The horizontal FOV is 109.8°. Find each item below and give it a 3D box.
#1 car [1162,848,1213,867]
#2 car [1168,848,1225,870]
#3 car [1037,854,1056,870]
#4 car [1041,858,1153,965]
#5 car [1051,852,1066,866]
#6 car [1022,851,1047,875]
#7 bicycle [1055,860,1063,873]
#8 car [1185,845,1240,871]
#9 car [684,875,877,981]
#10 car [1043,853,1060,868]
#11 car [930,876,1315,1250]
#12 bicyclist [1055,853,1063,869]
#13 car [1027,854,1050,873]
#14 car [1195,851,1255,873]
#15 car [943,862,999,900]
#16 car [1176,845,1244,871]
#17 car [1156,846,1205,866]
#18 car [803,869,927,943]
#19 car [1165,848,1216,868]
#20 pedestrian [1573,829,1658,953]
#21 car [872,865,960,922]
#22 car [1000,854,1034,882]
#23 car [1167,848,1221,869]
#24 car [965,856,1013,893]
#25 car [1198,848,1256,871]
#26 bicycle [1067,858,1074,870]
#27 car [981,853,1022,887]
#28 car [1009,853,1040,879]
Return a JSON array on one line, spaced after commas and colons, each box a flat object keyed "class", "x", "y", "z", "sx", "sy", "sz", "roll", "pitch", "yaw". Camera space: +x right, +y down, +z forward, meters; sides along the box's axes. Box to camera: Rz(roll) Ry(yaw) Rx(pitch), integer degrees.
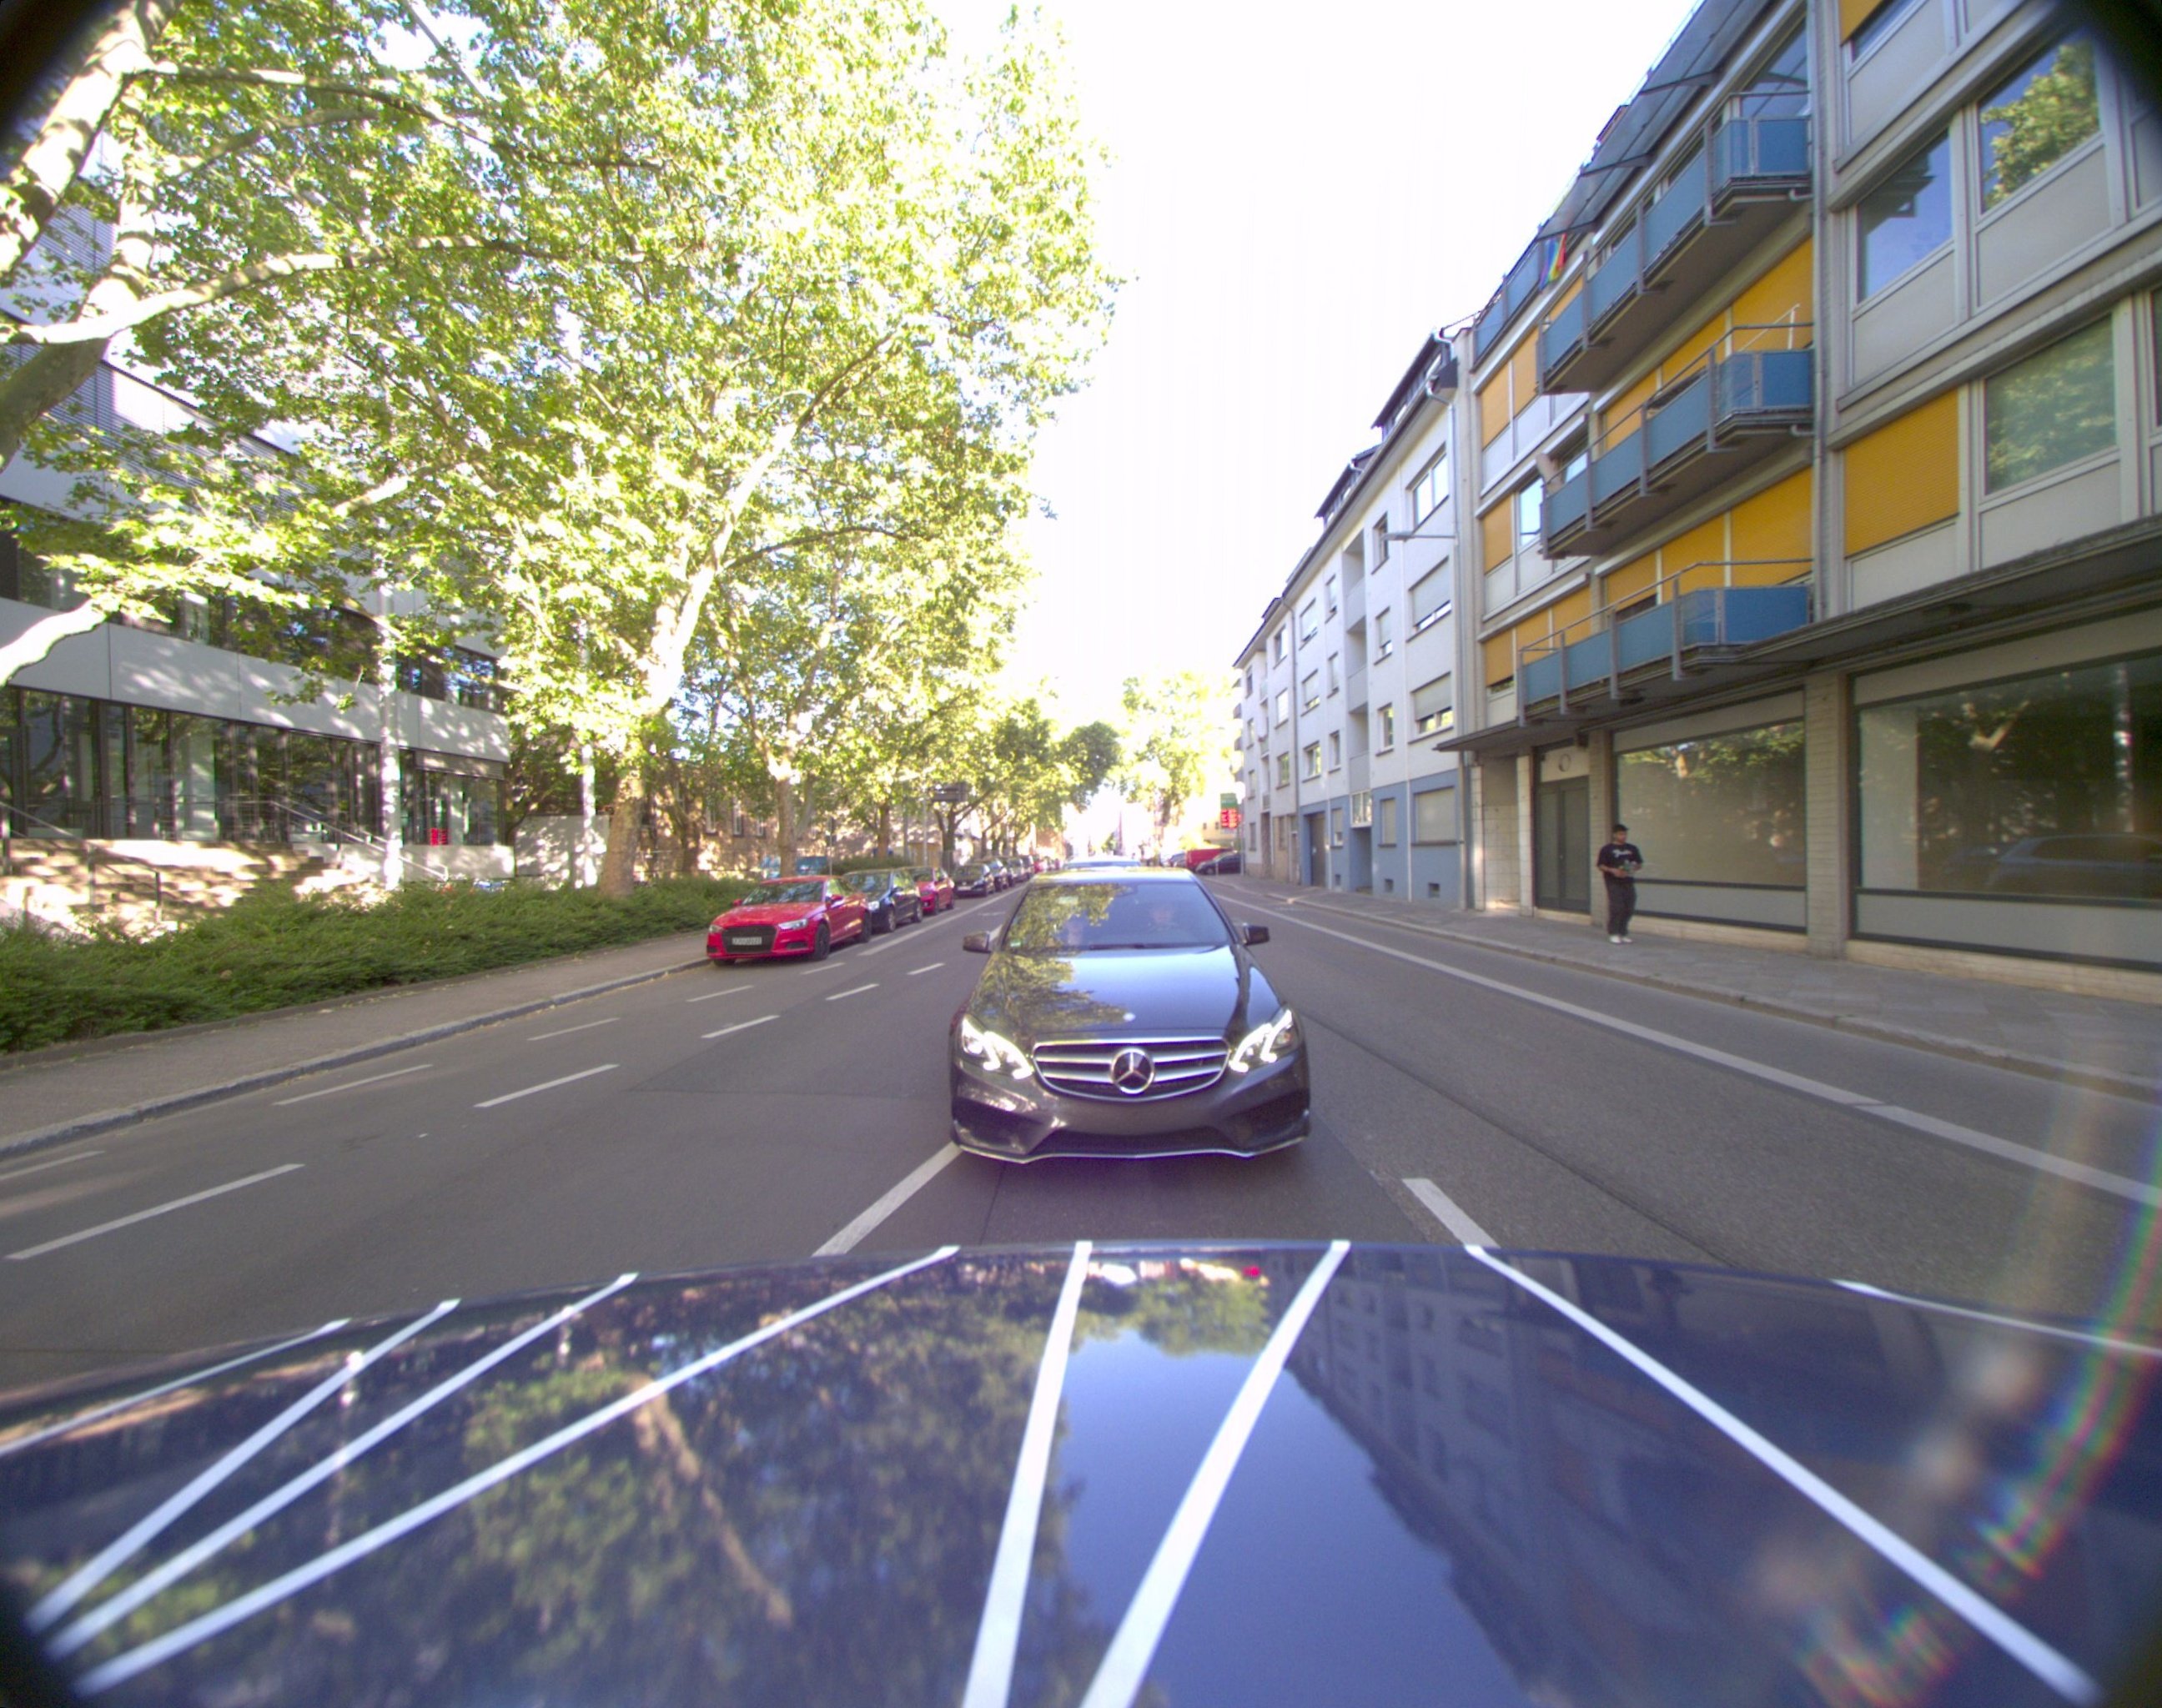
[{"class": "car", "x": 11.324, "y": 0.353, "z": 81.187, "sx": 5.042, "sy": 1.926, "sz": 2.315, "roll": -2, "pitch": 0, "yaw": 1}, {"class": "car", "x": 11.101, "y": 0.448, "z": 73.524, "sx": 5.143, "sy": 1.926, "sz": 2.187, "roll": -2, "pitch": 0, "yaw": 1}, {"class": "car", "x": -3.774, "y": 0.873, "z": 83.517, "sx": 1.755, "sy": 1.652, "sz": 4.447, "roll": -3, "pitch": 0, "yaw": 1}, {"class": "car", "x": 0.272, "y": 0.888, "z": 13.612, "sx": 1.667, "sy": 1.563, "sz": 4.000, "roll": -1, "pitch": 0, "yaw": 1}, {"class": "car", "x": -3.013, "y": 0.653, "z": 103.206, "sx": 1.755, "sy": 1.652, "sz": 4.447, "roll": -3, "pitch": 0, "yaw": 1}, {"class": "car", "x": -3.995, "y": 0.731, "z": 66.392, "sx": 1.755, "sy": 1.941, "sz": 4.447, "roll": -3, "pitch": 0, "yaw": 1}, {"class": "bicycle", "x": -1.968, "y": 1.127, "z": 68.670, "sx": 0.650, "sy": 1.053, "sz": 1.595, "roll": -2, "pitch": 0, "yaw": 1}, {"class": "car", "x": 10.333, "y": 0.305, "z": 60.083, "sx": 3.997, "sy": 1.926, "sz": 1.867, "roll": -2, "pitch": 0, "yaw": 1}, {"class": "car", "x": -5.124, "y": 1.183, "z": 13.600, "sx": 1.755, "sy": 1.400, "sz": 4.000, "roll": -3, "pitch": 0, "yaw": 1}, {"class": "car", "x": -3.645, "y": 0.776, "z": 93.007, "sx": 1.755, "sy": 1.652, "sz": 4.447, "roll": -3, "pitch": 0, "yaw": 1}, {"class": "car", "x": 0.213, "y": 0.985, "z": 5.360, "sx": 1.667, "sy": 1.499, "sz": 4.000, "roll": -1, "pitch": 0, "yaw": 1}, {"class": "bicyclist", "x": -1.984, "y": 0.590, "z": 68.646, "sx": 0.650, "sy": 1.427, "sz": 0.741, "roll": -2, "pitch": 1, "yaw": 1}, {"class": "car", "x": -4.001, "y": 0.906, "z": 72.178, "sx": 1.755, "sy": 1.652, "sz": 4.447, "roll": -3, "pitch": 0, "yaw": 1}, {"class": "car", "x": 10.358, "y": 0.567, "z": 54.784, "sx": 3.997, "sy": 1.412, "sz": 1.743, "roll": -2, "pitch": 0, "yaw": 1}, {"class": "car", "x": -4.749, "y": 1.119, "z": 33.296, "sx": 1.755, "sy": 1.424, "sz": 3.909, "roll": -3, "pitch": 0, "yaw": 1}, {"class": "car", "x": 10.638, "y": 0.299, "z": 63.108, "sx": 5.223, "sy": 1.969, "sz": 2.257, "roll": -2, "pitch": 0, "yaw": 1}, {"class": "car", "x": 11.192, "y": 0.206, "z": 85.524, "sx": 5.143, "sy": 2.135, "sz": 2.187, "roll": -2, "pitch": 0, "yaw": 1}, {"class": "car", "x": -5.084, "y": 1.174, "z": 18.446, "sx": 1.755, "sy": 1.424, "sz": 3.909, "roll": -3, "pitch": 0, "yaw": 1}, {"class": "car", "x": 11.288, "y": 0.378, "z": 78.722, "sx": 4.991, "sy": 1.926, "sz": 2.083, "roll": -2, "pitch": 0, "yaw": 1}, {"class": "pedestrian", "x": 7.920, "y": 0.530, "z": 11.282, "sx": 0.663, "sy": 1.761, "sz": 0.793, "roll": -2, "pitch": 1, "yaw": 1}, {"class": "car", "x": -5.033, "y": 1.147, "z": 23.658, "sx": 1.755, "sy": 1.459, "sz": 3.909, "roll": -3, "pitch": 0, "yaw": 1}, {"class": "car", "x": -4.271, "y": 0.882, "z": 50.947, "sx": 1.755, "sy": 1.718, "sz": 4.447, "roll": -3, "pitch": 0, "yaw": 1}, {"class": "car", "x": 11.274, "y": 0.409, "z": 76.224, "sx": 5.054, "sy": 1.926, "sz": 2.161, "roll": -2, "pitch": 0, "yaw": 1}, {"class": "car", "x": -4.561, "y": 0.978, "z": 38.266, "sx": 1.755, "sy": 1.644, "sz": 4.174, "roll": -3, "pitch": 0, "yaw": 1}, {"class": "car", "x": 10.914, "y": 0.396, "z": 56.994, "sx": 3.997, "sy": 1.552, "sz": 1.743, "roll": -2, "pitch": 0, "yaw": 1}, {"class": "bicycle", "x": -0.964, "y": 0.926, "z": 68.676, "sx": 0.574, "sy": 1.053, "sz": 1.595, "roll": -2, "pitch": 0, "yaw": 1}, {"class": "car", "x": -4.552, "y": 0.873, "z": 44.065, "sx": 1.755, "sy": 1.810, "sz": 4.447, "roll": -3, "pitch": 0, "yaw": 1}, {"class": "car", "x": -4.101, "y": 0.824, "z": 55.758, "sx": 1.755, "sy": 1.753, "sz": 4.447, "roll": -3, "pitch": 0, "yaw": 1}]
